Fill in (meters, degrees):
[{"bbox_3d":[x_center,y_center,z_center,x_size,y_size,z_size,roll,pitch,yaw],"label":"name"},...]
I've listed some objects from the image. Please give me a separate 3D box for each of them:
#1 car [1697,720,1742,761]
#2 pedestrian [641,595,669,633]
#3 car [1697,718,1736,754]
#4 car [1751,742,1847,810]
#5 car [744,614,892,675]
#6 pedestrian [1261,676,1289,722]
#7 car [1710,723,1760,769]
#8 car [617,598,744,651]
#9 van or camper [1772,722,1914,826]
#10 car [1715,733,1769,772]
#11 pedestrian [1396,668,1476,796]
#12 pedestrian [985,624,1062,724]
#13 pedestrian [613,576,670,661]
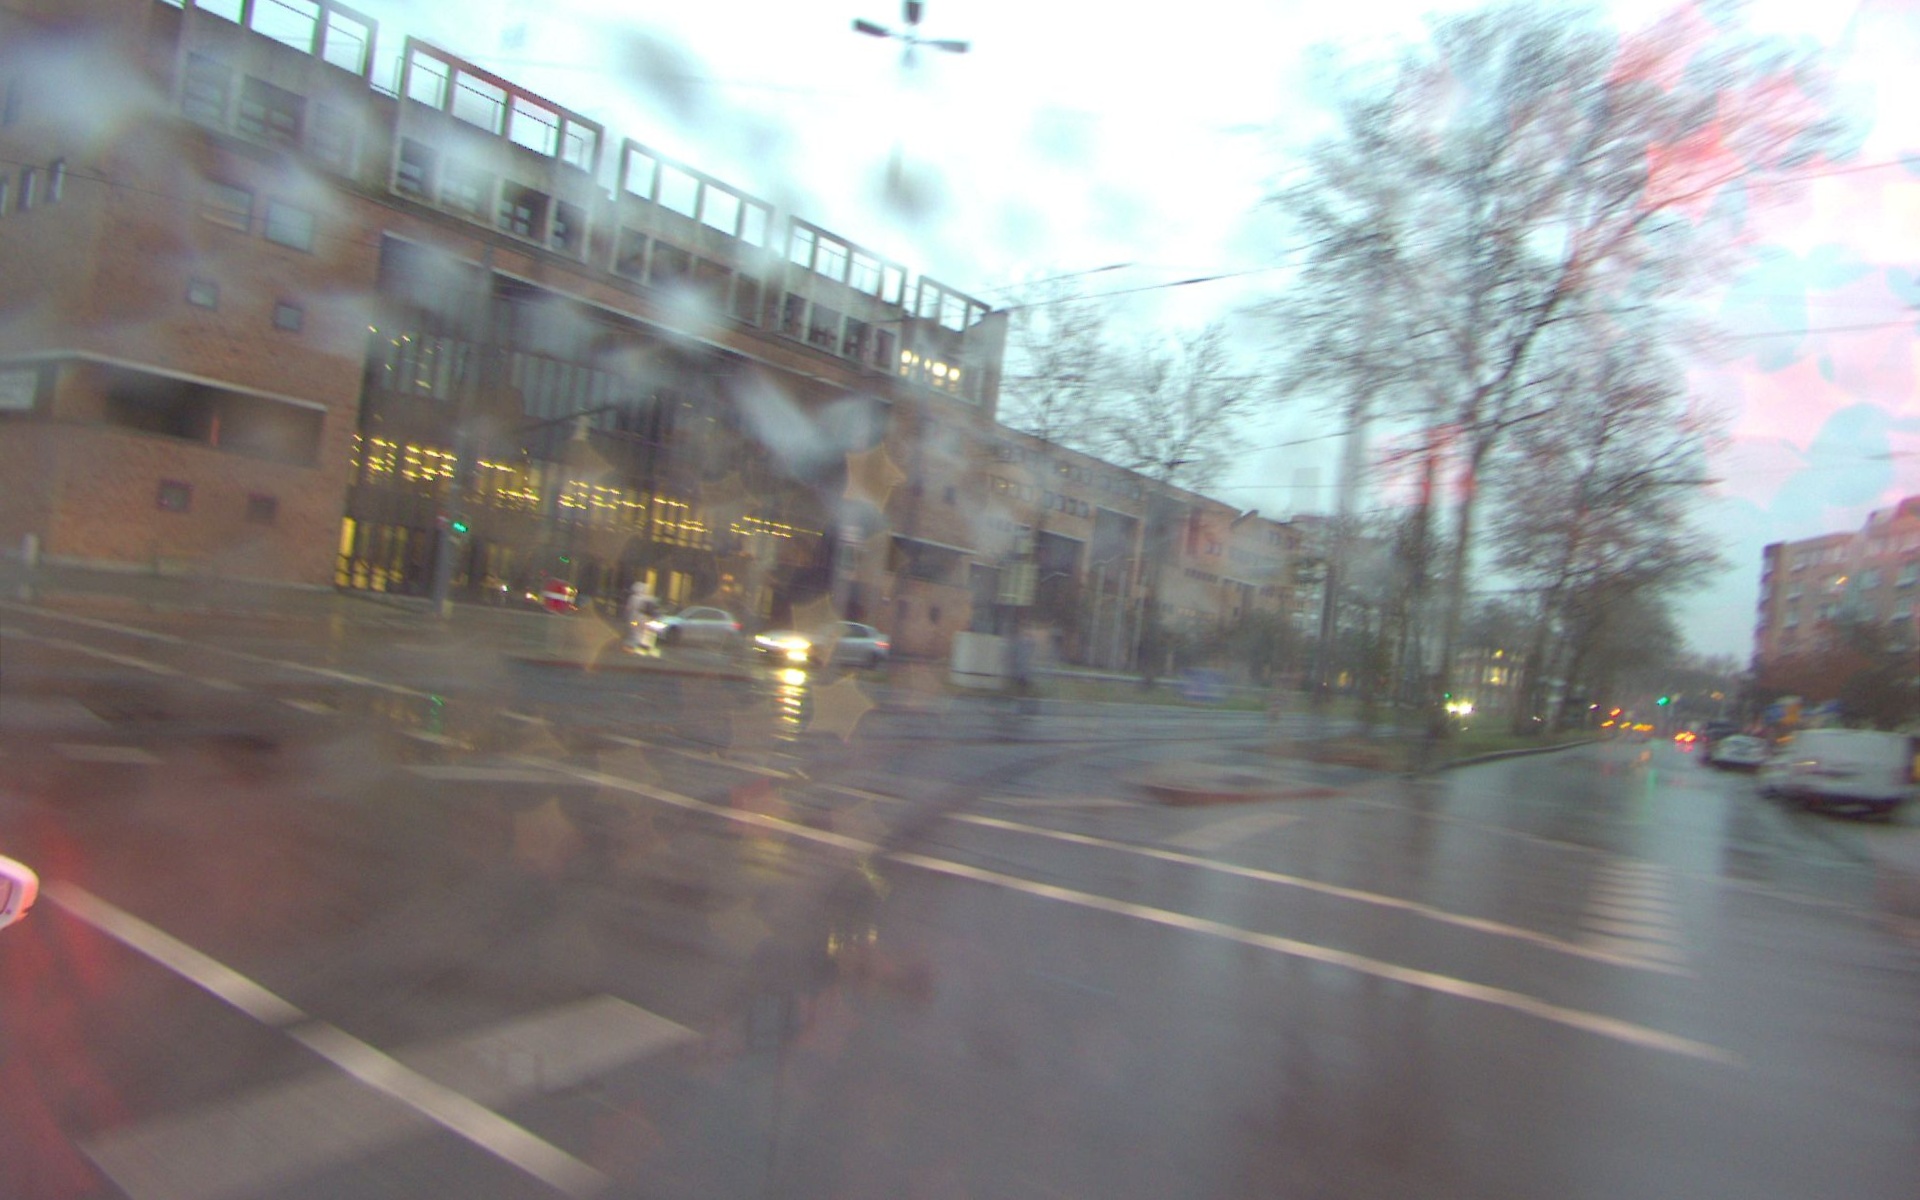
[{"bbox_3d":[43.033,7.901,56.987,1.815,1.974,3.986,6,-1,38],"label":"car"},{"bbox_3d":[-12.263,0.547,40.431,0.733,1.405,0.730,8,-1,-35],"label":"pedestrian"},{"bbox_3d":[48.928,8.767,65.041,1.815,1.974,3.986,6,-1,38],"label":"car"},{"bbox_3d":[24.238,5.026,29.181,1.617,1.545,3.836,7,-2,35],"label":"car"},{"bbox_3d":[-3.947,1.284,28.537,1.786,1.357,3.981,6,-1,36],"label":"car"},{"bbox_3d":[10.024,3.151,32.003,0.472,1.380,0.604,7,-1,42],"label":"pedestrian"},{"bbox_3d":[39.737,7.433,51.596,1.815,1.974,3.986,6,-1,38],"label":"car"},{"bbox_3d":[-9.796,0.881,35.470,1.786,1.325,3.986,6,-3,35],"label":"car"},{"bbox_3d":[21.004,4.079,24.118,1.812,1.950,4.739,7,-2,35],"label":"van or camper"},{"bbox_3d":[36.588,7.107,47.125,1.815,1.450,3.986,6,-2,38],"label":"car"},{"bbox_3d":[7.408,2.034,15.688,0.639,1.832,0.800,7,-1,0],"label":"pedestrian"},{"bbox_3d":[1.264,1.473,20.118,0.772,1.808,1.139,8,-1,-41],"label":"pedestrian"},{"bbox_3d":[-7.272,0.424,22.971,0.722,1.808,0.735,7,-1,30],"label":"pedestrian"}]
